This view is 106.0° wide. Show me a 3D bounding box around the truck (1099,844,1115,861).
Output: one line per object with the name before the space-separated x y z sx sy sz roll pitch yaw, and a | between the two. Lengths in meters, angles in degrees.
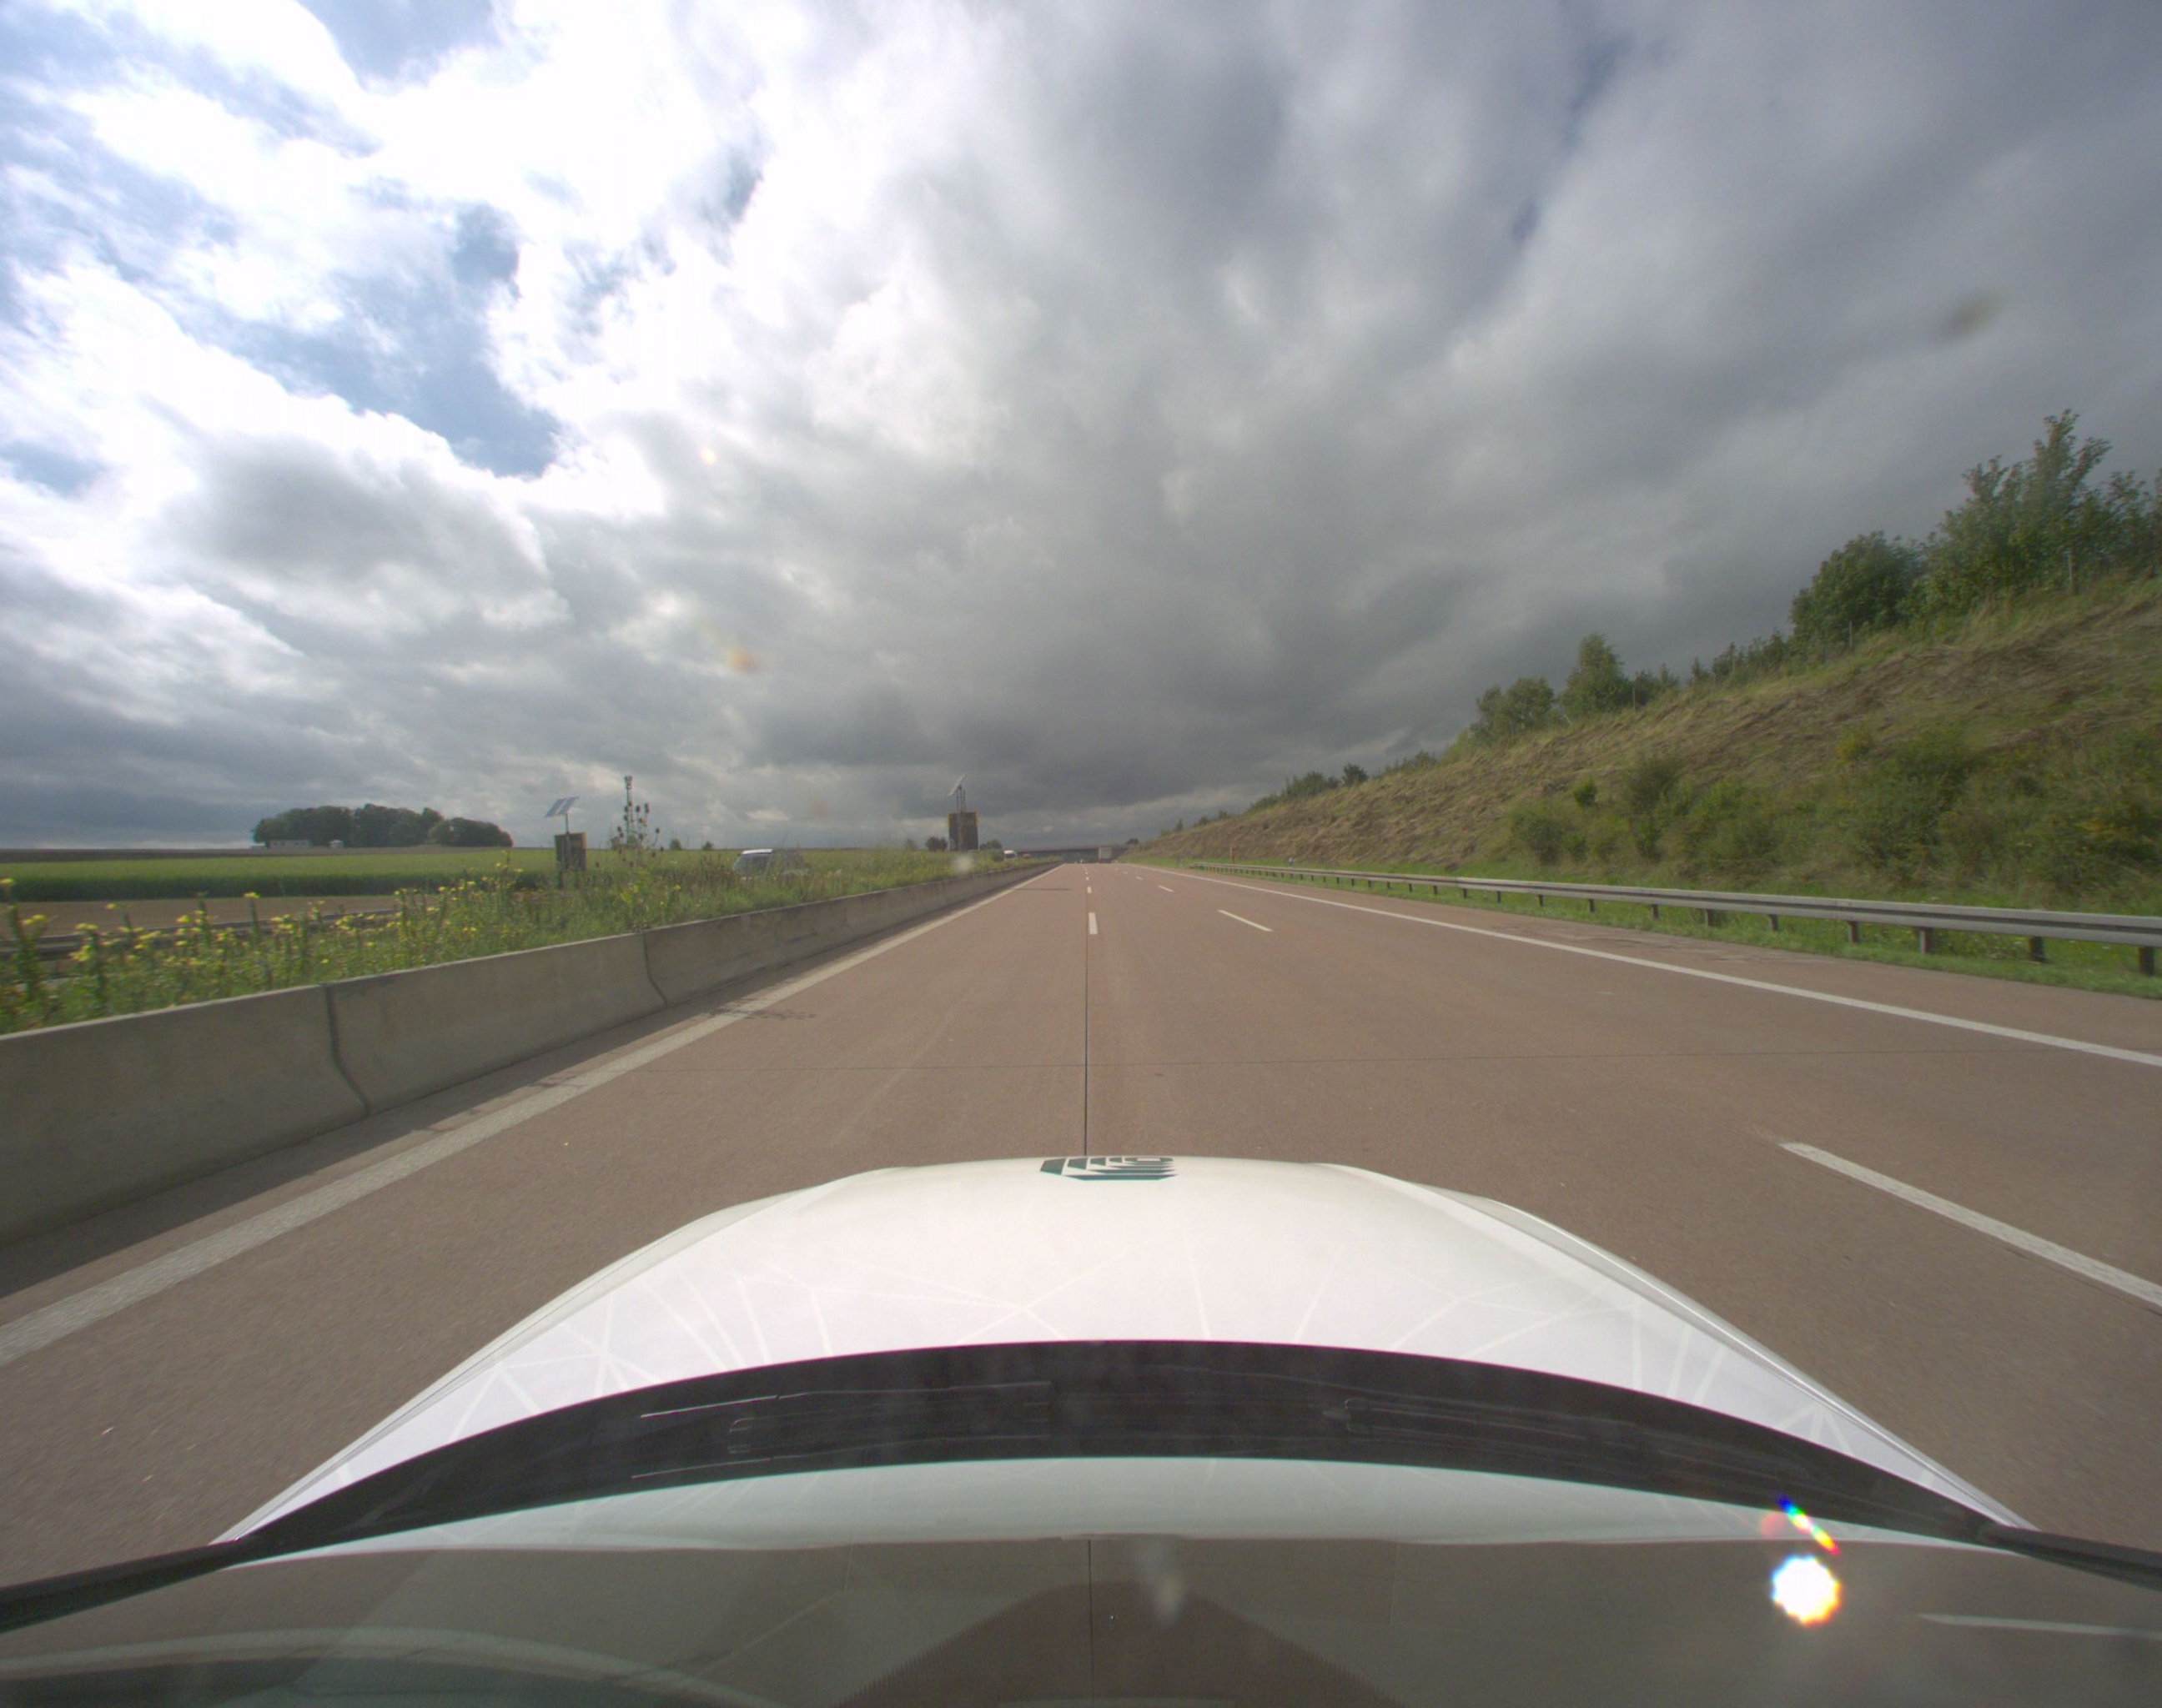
truck | 6.317 -0.446 198.306 3.604 3.945 11.177 0 0 1

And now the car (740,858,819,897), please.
car | -16.772 1.245 45.644 2.049 1.913 5.705 -3 0 2

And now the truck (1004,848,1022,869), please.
truck | -17.042 1.118 204.044 2.978 5.065 10.993 0 0 3

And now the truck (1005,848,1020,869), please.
truck | -17.071 1.107 203.075 2.981 5.065 10.982 0 0 -1
